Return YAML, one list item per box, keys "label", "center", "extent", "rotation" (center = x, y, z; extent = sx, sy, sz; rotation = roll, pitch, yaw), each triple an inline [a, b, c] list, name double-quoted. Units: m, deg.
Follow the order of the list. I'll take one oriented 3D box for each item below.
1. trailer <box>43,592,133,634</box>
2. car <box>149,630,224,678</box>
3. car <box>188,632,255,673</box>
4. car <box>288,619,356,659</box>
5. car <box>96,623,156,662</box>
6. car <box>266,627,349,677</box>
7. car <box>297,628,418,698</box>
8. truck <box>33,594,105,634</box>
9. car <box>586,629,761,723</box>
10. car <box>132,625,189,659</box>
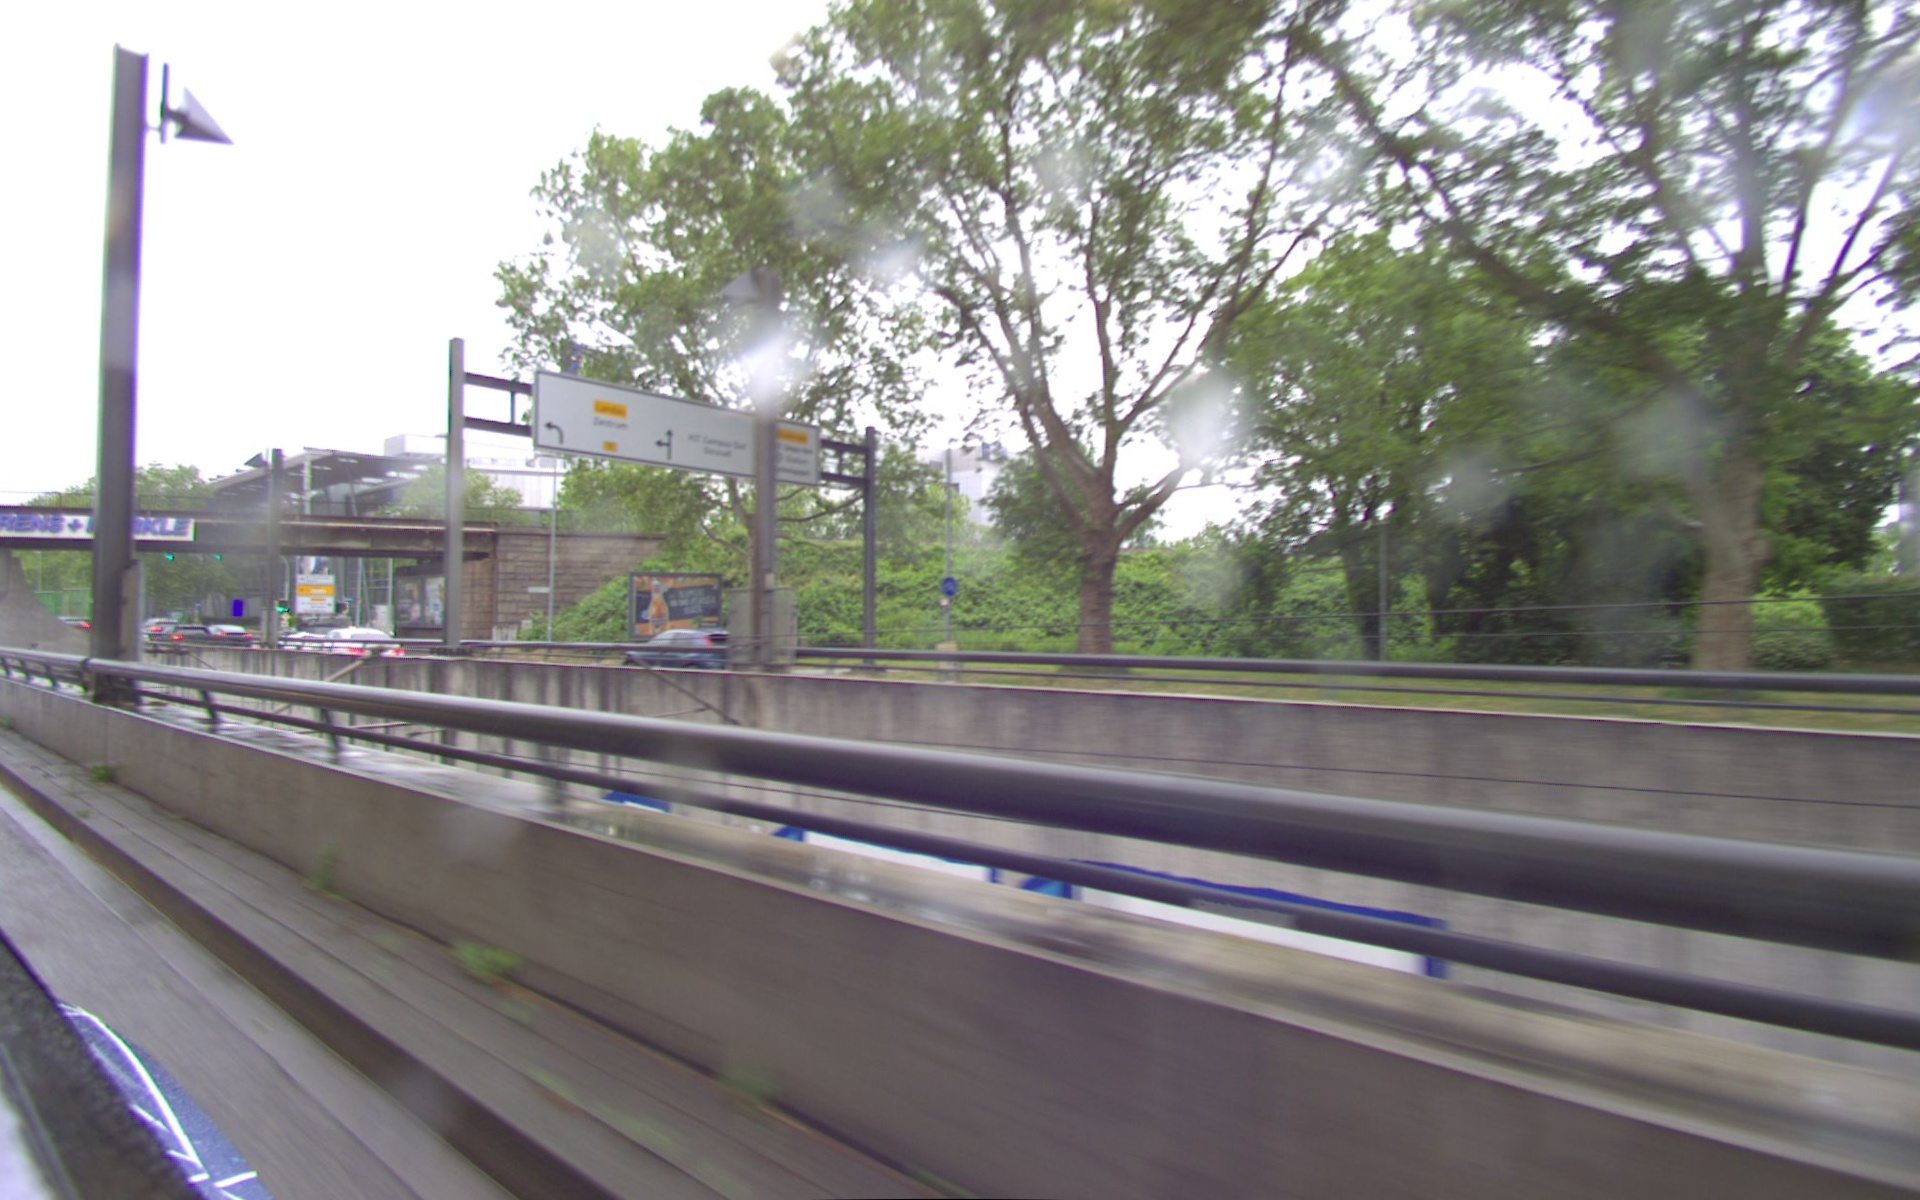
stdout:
- label: "trailer"
  center: [-72.875, 1.100, 84.479]
  extent: [11.101, 3.284, 3.292]
  rotation: [-1, 0, 37]
- label: "car"
  center: [-35.715, 2.433, 46.717]
  extent: [3.997, 2.029, 1.973]
  rotation: [-1, 0, 41]
- label: "car"
  center: [-39.882, 2.778, 54.624]
  extent: [4.508, 2.029, 1.973]
  rotation: [-1, 0, 41]
- label: "car"
  center: [-34.433, 2.074, 54.559]
  extent: [4.194, 2.029, 1.973]
  rotation: [-1, 0, 41]
- label: "car"
  center: [-46.915, 2.361, 56.908]
  extent: [3.997, 2.029, 1.973]
  rotation: [-1, 0, 41]
- label: "car"
  center: [-28.407, 2.201, 44.046]
  extent: [3.997, 2.029, 1.973]
  rotation: [-1, 0, 41]
- label: "car"
  center: [-19.462, 1.951, 32.607]
  extent: [4.613, 2.029, 1.973]
  rotation: [-1, 0, 41]
- label: "truck"
  center: [-77.425, 1.202, 87.929]
  extent: [6.511, 3.334, 3.345]
  rotation: [-1, 0, 36]
- label: "car"
  center: [-7.122, 1.773, 24.915]
  extent: [4.508, 2.029, 1.973]
  rotation: [-1, 0, 41]
- label: "car"
  center: [-49.555, 2.557, 62.731]
  extent: [4.364, 1.944, 1.973]
  rotation: [-1, 0, 41]
